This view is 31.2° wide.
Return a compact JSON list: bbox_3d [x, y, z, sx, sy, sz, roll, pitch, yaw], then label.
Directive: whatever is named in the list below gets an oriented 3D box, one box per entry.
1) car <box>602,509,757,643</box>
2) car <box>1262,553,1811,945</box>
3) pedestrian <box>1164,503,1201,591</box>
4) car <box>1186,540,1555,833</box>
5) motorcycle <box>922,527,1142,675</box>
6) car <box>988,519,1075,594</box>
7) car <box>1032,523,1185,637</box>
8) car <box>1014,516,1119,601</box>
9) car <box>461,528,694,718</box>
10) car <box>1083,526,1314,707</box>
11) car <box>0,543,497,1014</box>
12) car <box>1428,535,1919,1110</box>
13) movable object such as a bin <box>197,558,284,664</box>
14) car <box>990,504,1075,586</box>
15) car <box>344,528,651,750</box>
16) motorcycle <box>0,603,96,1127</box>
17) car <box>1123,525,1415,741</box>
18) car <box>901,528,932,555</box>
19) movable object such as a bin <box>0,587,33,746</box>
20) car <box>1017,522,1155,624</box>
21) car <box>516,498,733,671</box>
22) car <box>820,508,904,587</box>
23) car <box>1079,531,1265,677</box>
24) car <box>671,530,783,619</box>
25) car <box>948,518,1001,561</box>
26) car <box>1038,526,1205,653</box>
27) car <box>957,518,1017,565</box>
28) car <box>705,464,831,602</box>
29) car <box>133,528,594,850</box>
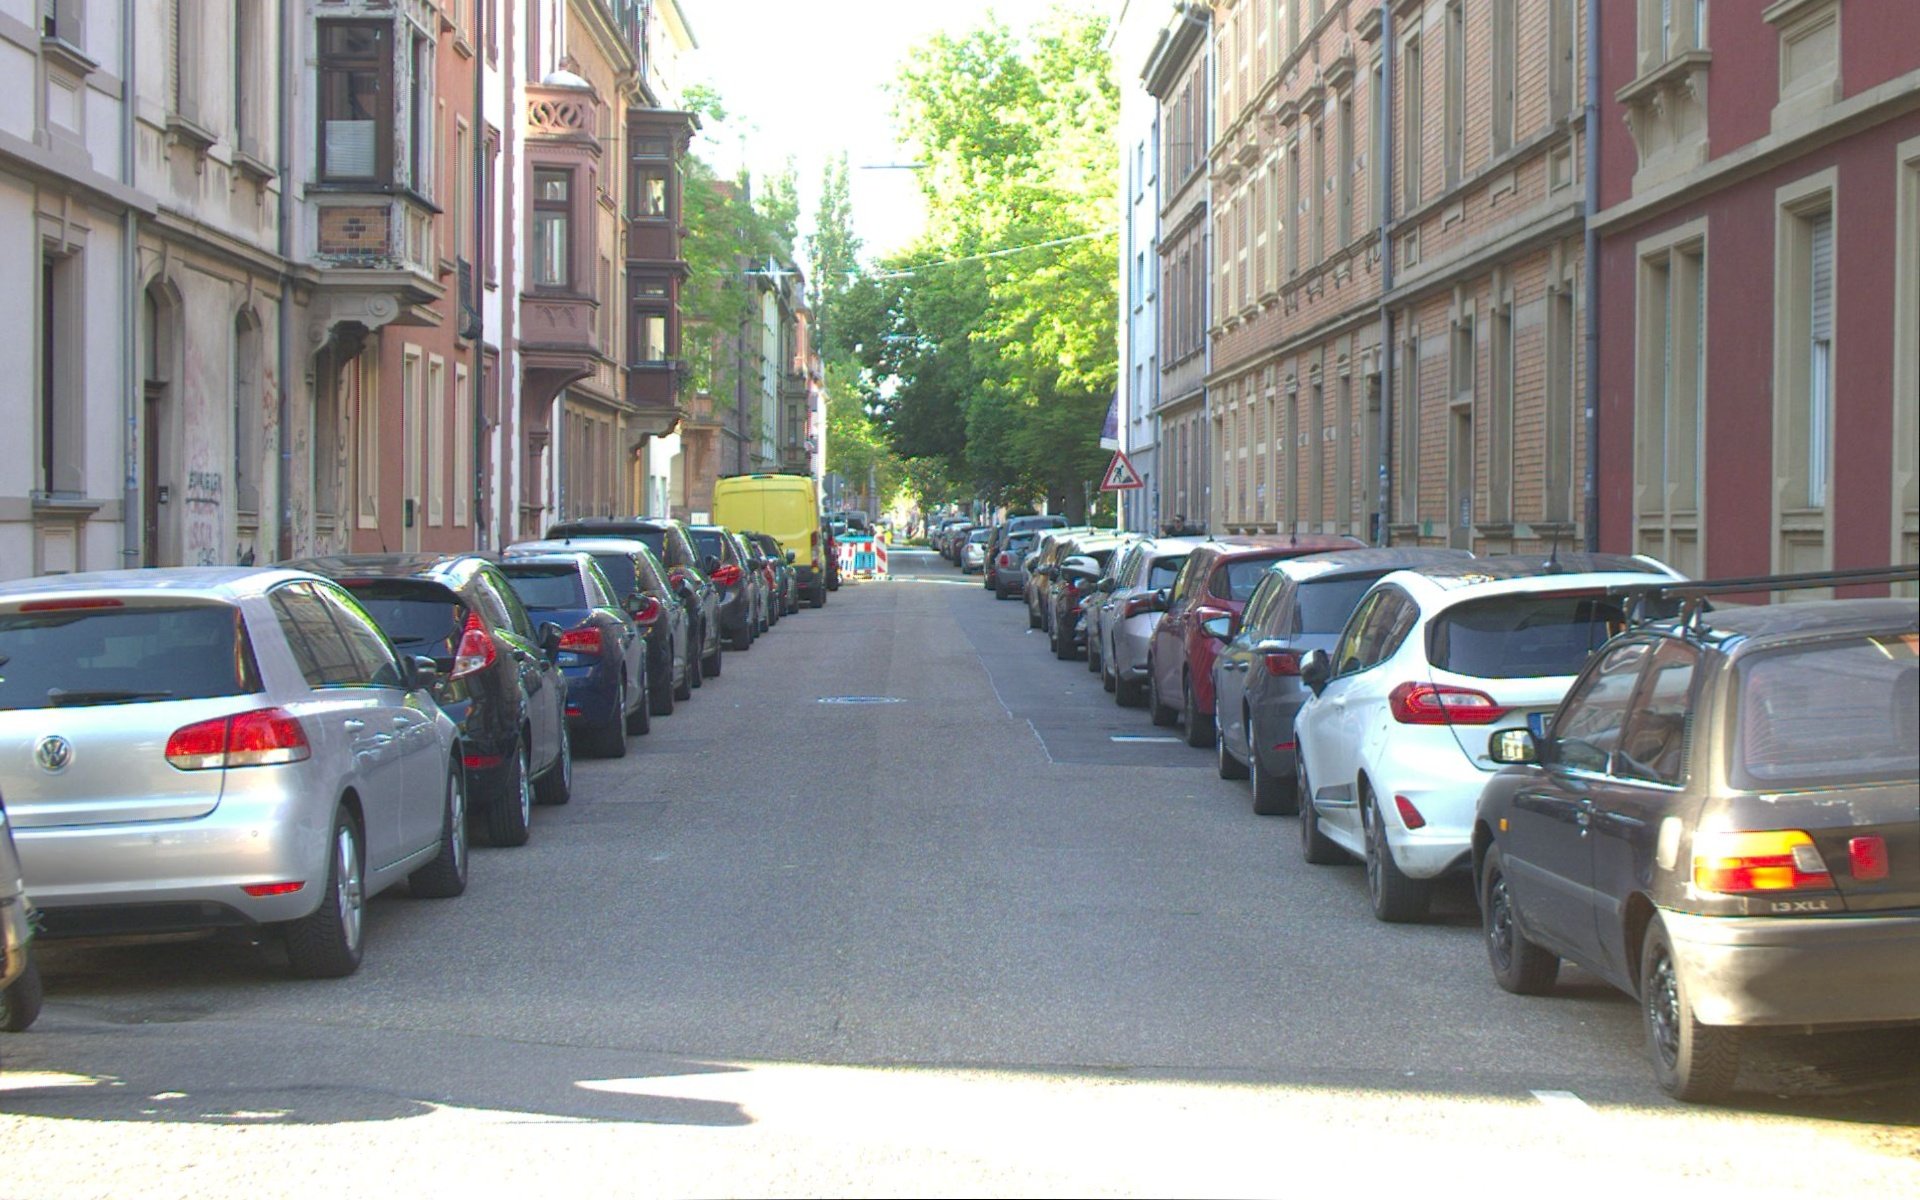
[{"bbox_3d":[-3.559,-0.346,44.149,1.781,1.600,4.070,1,1,-2],"label":"car"},{"bbox_3d":[2.433,0.559,15.458,1.705,1.457,3.970,1,1,-1],"label":"car"},{"bbox_3d":[4.129,-0.980,63.897,0.653,1.625,0.880,-1,1,3],"label":"pedestrian"},{"bbox_3d":[2.357,0.435,20.659,1.676,1.498,4.069,1,2,0],"label":"car"},{"bbox_3d":[0.809,0.010,38.560,2.218,1.531,0.890,3,1,-27],"label":"motorcycle"},{"bbox_3d":[1.535,-0.971,74.445,1.754,1.448,4.288,-3,2,1],"label":"car"},{"bbox_3d":[2.041,-0.319,48.207,1.725,1.412,4.094,-3,2,-2],"label":"car"},{"bbox_3d":[2.092,-0.854,68.560,1.753,1.513,4.444,-3,2,-2],"label":"car"},{"bbox_3d":[-3.207,0.144,29.407,1.642,1.450,3.839,-1,2,-2],"label":"car"},{"bbox_3d":[2.104,0.091,31.337,1.762,1.479,4.402,1,2,0],"label":"car"},{"bbox_3d":[-3.005,0.556,13.288,1.781,1.478,3.932,1,1,1],"label":"car"},{"bbox_3d":[2.648,0.565,10.938,1.668,1.478,3.707,1,1,-2],"label":"car"},{"bbox_3d":[-6.406,0.091,30.625,0.612,0.917,0.734,1,1,-1],"label":"movable object such as a bin"},{"bbox_3d":[1.653,-1.311,79.877,1.753,1.780,4.724,-2,2,-1],"label":"car"},{"bbox_3d":[-3.193,0.215,24.367,1.781,1.398,3.743,1,1,-2],"label":"car"},{"bbox_3d":[-3.010,0.713,10.033,0.676,1.329,2.001,-2,2,-7],"label":"motorcycle"},{"bbox_3d":[2.291,0.193,26.406,1.658,1.474,4.025,1,2,-3],"label":"car"},{"bbox_3d":[-2.842,-3.803,223.282,1.993,1.722,4.001,1,1,-1],"label":"car"},{"bbox_3d":[-6.133,0.398,21.283,0.621,0.952,0.511,3,1,-1],"label":"movable object such as a bin"},{"bbox_3d":[1.902,-0.451,52.949,1.753,1.441,4.070,-2,1,-2],"label":"car"},{"bbox_3d":[-3.306,-0.200,34.586,1.761,1.612,4.189,1,1,0],"label":"car"},{"bbox_3d":[-2.340,-1.257,81.169,1.818,1.760,4.336,1,1,-4],"label":"car"},{"bbox_3d":[2.193,0.003,36.403,1.692,1.401,3.992,1,2,0],"label":"car"},{"bbox_3d":[-3.696,-0.431,55.017,1.618,1.322,3.613,-2,1,-2],"label":"car"},{"bbox_3d":[0.554,-2.387,135.254,1.894,1.619,4.000,1,1,-2],"label":"car"},{"bbox_3d":[1.909,-0.166,41.789,1.777,1.392,4.318,1,2,0],"label":"car"},{"bbox_3d":[0.875,-1.948,113.974,1.723,1.517,4.001,1,1,-3],"label":"car"},{"bbox_3d":[-3.652,-1.311,66.400,2.175,2.499,5.879,-1,1,-1],"label":"car"},{"bbox_3d":[-3.034,0.385,18.204,1.781,1.478,3.743,1,1,0],"label":"car"}]
